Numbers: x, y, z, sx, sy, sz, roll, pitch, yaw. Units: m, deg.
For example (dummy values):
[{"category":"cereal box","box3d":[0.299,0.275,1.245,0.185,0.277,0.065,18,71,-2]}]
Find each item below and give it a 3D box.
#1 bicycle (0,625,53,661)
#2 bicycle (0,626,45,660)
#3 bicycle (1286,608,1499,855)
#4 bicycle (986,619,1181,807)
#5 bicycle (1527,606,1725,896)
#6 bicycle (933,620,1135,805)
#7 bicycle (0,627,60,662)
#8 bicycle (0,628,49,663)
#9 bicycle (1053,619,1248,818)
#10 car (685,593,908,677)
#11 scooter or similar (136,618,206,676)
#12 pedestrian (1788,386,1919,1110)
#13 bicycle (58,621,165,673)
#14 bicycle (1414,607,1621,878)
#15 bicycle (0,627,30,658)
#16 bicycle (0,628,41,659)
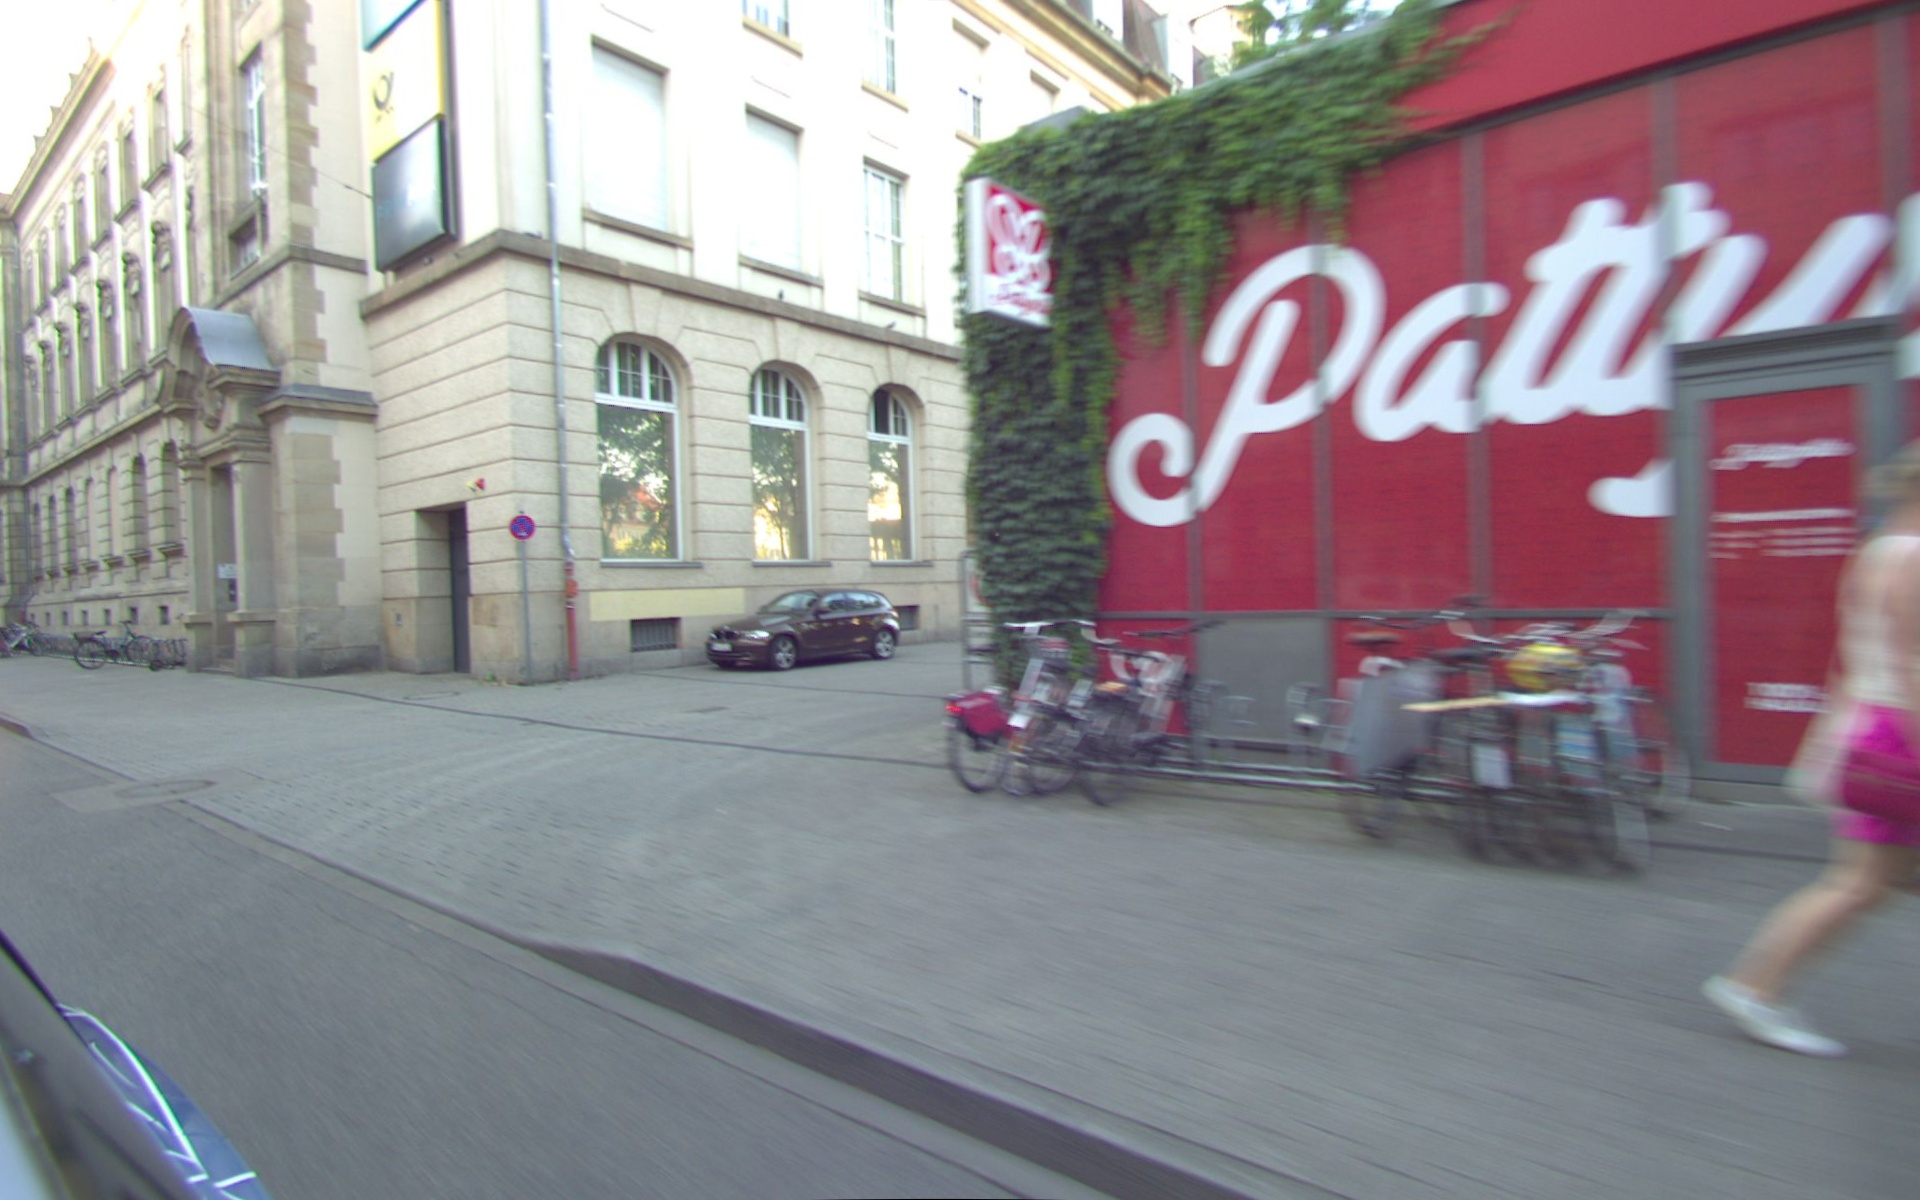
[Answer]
[{"category":"bicycle","box3d":[-32.549,1.486,34.909,0.499,1.116,1.780,-1,2,34]},{"category":"bicycle","box3d":[-33.497,1.514,35.644,0.499,1.116,1.780,-1,2,34]},{"category":"bicycle","box3d":[2.475,0.642,5.677,0.500,1.116,1.775,-2,1,43]},{"category":"bicycle","box3d":[0.934,0.729,7.222,0.499,1.116,1.777,-2,0,39]},{"category":"bicycle","box3d":[3.309,0.625,4.957,0.500,1.116,1.775,-2,1,43]},{"category":"bicycle","box3d":[0.589,0.741,7.347,0.500,1.116,1.776,-2,0,40]},{"category":"bicycle","box3d":[-31.931,1.510,34.378,0.618,1.069,1.921,-1,2,34]},{"category":"bicycle","box3d":[-31.408,1.523,33.376,0.619,1.069,1.919,-1,2,38]},{"category":"bicycle","box3d":[1.344,0.723,6.878,0.499,1.116,1.777,-2,0,39]},{"category":"car","box3d":[-2.962,0.598,18.983,1.749,1.381,3.966,-2,-1,39]},{"category":"scooter or similar","box3d":[-18.149,1.079,23.307,0.494,1.242,1.126,-2,1,28]},{"category":"pedestrian","box3d":[2.716,0.346,2.609,0.846,1.762,0.745,-2,1,40]},{"category":"bicycle","box3d":[-21.287,1.164,25.452,0.616,1.069,1.928,-2,3,25]},{"category":"bicycle","box3d":[2.947,0.633,5.256,0.500,1.116,1.775,-2,1,43]},{"category":"bicycle","box3d":[-36.157,1.628,37.861,0.619,1.069,1.918,-1,2,39]},{"category":"bicycle","box3d":[-35.130,1.612,37.146,0.618,1.069,1.921,-1,2,34]}]
